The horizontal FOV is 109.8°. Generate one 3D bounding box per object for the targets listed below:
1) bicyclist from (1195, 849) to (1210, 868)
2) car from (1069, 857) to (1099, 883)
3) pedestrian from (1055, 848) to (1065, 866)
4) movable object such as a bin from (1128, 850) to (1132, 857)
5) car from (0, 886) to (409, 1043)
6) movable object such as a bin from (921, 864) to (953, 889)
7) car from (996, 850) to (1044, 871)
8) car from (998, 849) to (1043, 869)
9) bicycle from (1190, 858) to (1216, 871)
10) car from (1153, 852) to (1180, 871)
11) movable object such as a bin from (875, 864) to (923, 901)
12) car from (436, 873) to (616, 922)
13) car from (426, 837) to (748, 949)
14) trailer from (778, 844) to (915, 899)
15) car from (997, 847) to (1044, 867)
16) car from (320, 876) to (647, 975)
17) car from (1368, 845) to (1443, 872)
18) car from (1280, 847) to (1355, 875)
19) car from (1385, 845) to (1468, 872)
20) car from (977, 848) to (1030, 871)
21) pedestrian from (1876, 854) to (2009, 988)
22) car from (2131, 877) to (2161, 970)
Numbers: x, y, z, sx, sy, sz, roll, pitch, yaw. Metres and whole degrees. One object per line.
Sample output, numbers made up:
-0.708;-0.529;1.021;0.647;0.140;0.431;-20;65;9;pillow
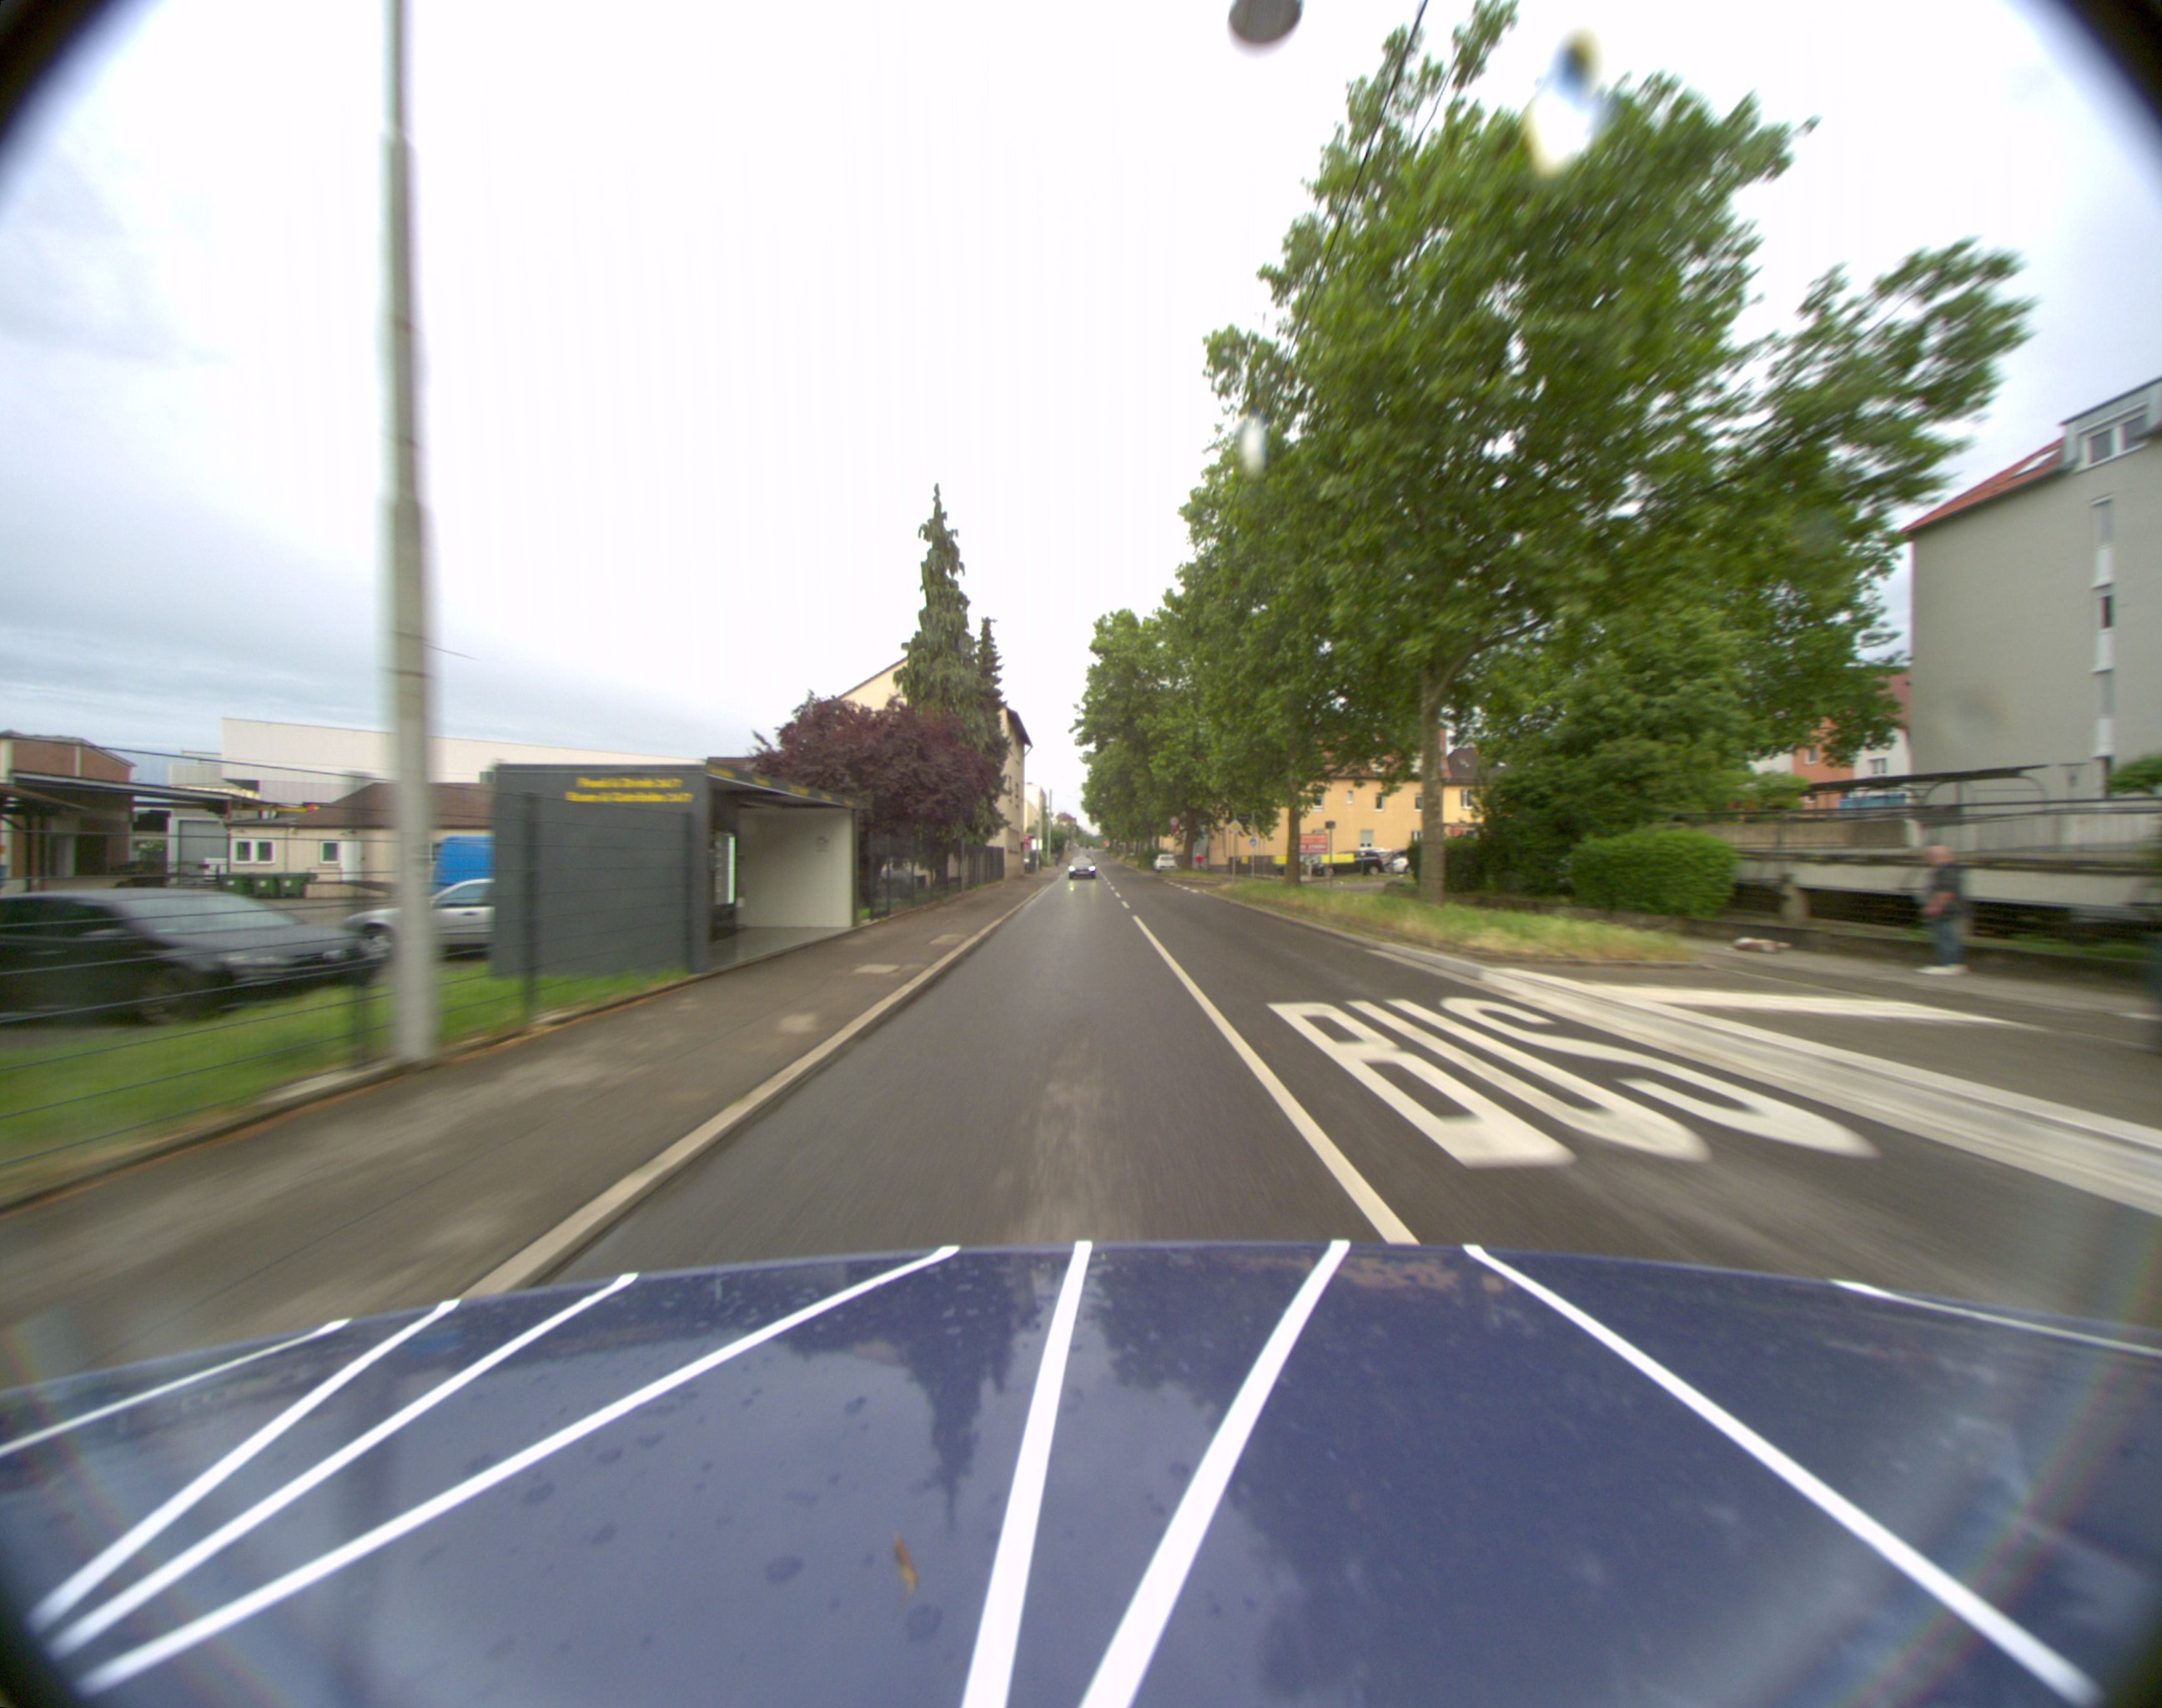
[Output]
9.911;0.374;62.064;0.837;1.544;0.814;-4;3;-41;bicyclist
0.172;1.040;51.822;1.949;1.644;3.858;-1;0;0;car
-2.336;0.345;83.778;1.045;1.887;0.900;0;2;1;pedestrian
7.907;-0.042;122.347;0.536;1.051;0.762;1;2;1;movable object such as a bin
-10.501;1.198;8.694;3.996;1.415;1.784;-2;2;2;car
-7.353;1.125;38.859;1.331;1.173;1.218;-4;0;0;movable object such as a bin
-5.511;0.579;68.929;4.077;1.726;1.869;-2;2;1;car
-5.653;0.437;71.311;3.958;1.714;1.791;-2;1;1;car
9.950;0.847;62.087;0.557;0.990;2.259;-4;2;-42;bicycle
7.307;0.589;65.352;1.790;1.542;4.351;-1;0;0;car
-7.182;1.110;30.208;1.374;1.312;2.858;-2;0;-4;movable object such as a bin
-17.800;1.380;24.542;4.369;1.415;1.799;-1;0;-4;car
-10.449;0.784;16.410;5.582;2.198;2.000;-1;0;-1;car
-10.481;0.744;34.252;5.434;2.175;2.045;-2;2;0;trailer
-5.860;0.275;73.708;4.313;1.758;1.999;-2;2;1;car
-10.558;1.231;13.695;4.390;1.522;1.793;-1;2;-1;car
21.013;0.269;49.267;3.997;1.644;1.999;-1;2;-1;car
15.406;0.451;49.651;4.218;1.530;1.981;-3;2;-1;car
21.179;0.269;46.714;4.178;1.488;1.999;-2;2;-1;car
-6.600;0.473;64.912;4.239;1.726;1.869;-2;2;1;car
11.007;0.819;9.737;0.757;1.602;0.834;-2;2;-4;pedestrian
19.190;1.097;11.723;3.717;1.466;1.613;-1;0;1;car
